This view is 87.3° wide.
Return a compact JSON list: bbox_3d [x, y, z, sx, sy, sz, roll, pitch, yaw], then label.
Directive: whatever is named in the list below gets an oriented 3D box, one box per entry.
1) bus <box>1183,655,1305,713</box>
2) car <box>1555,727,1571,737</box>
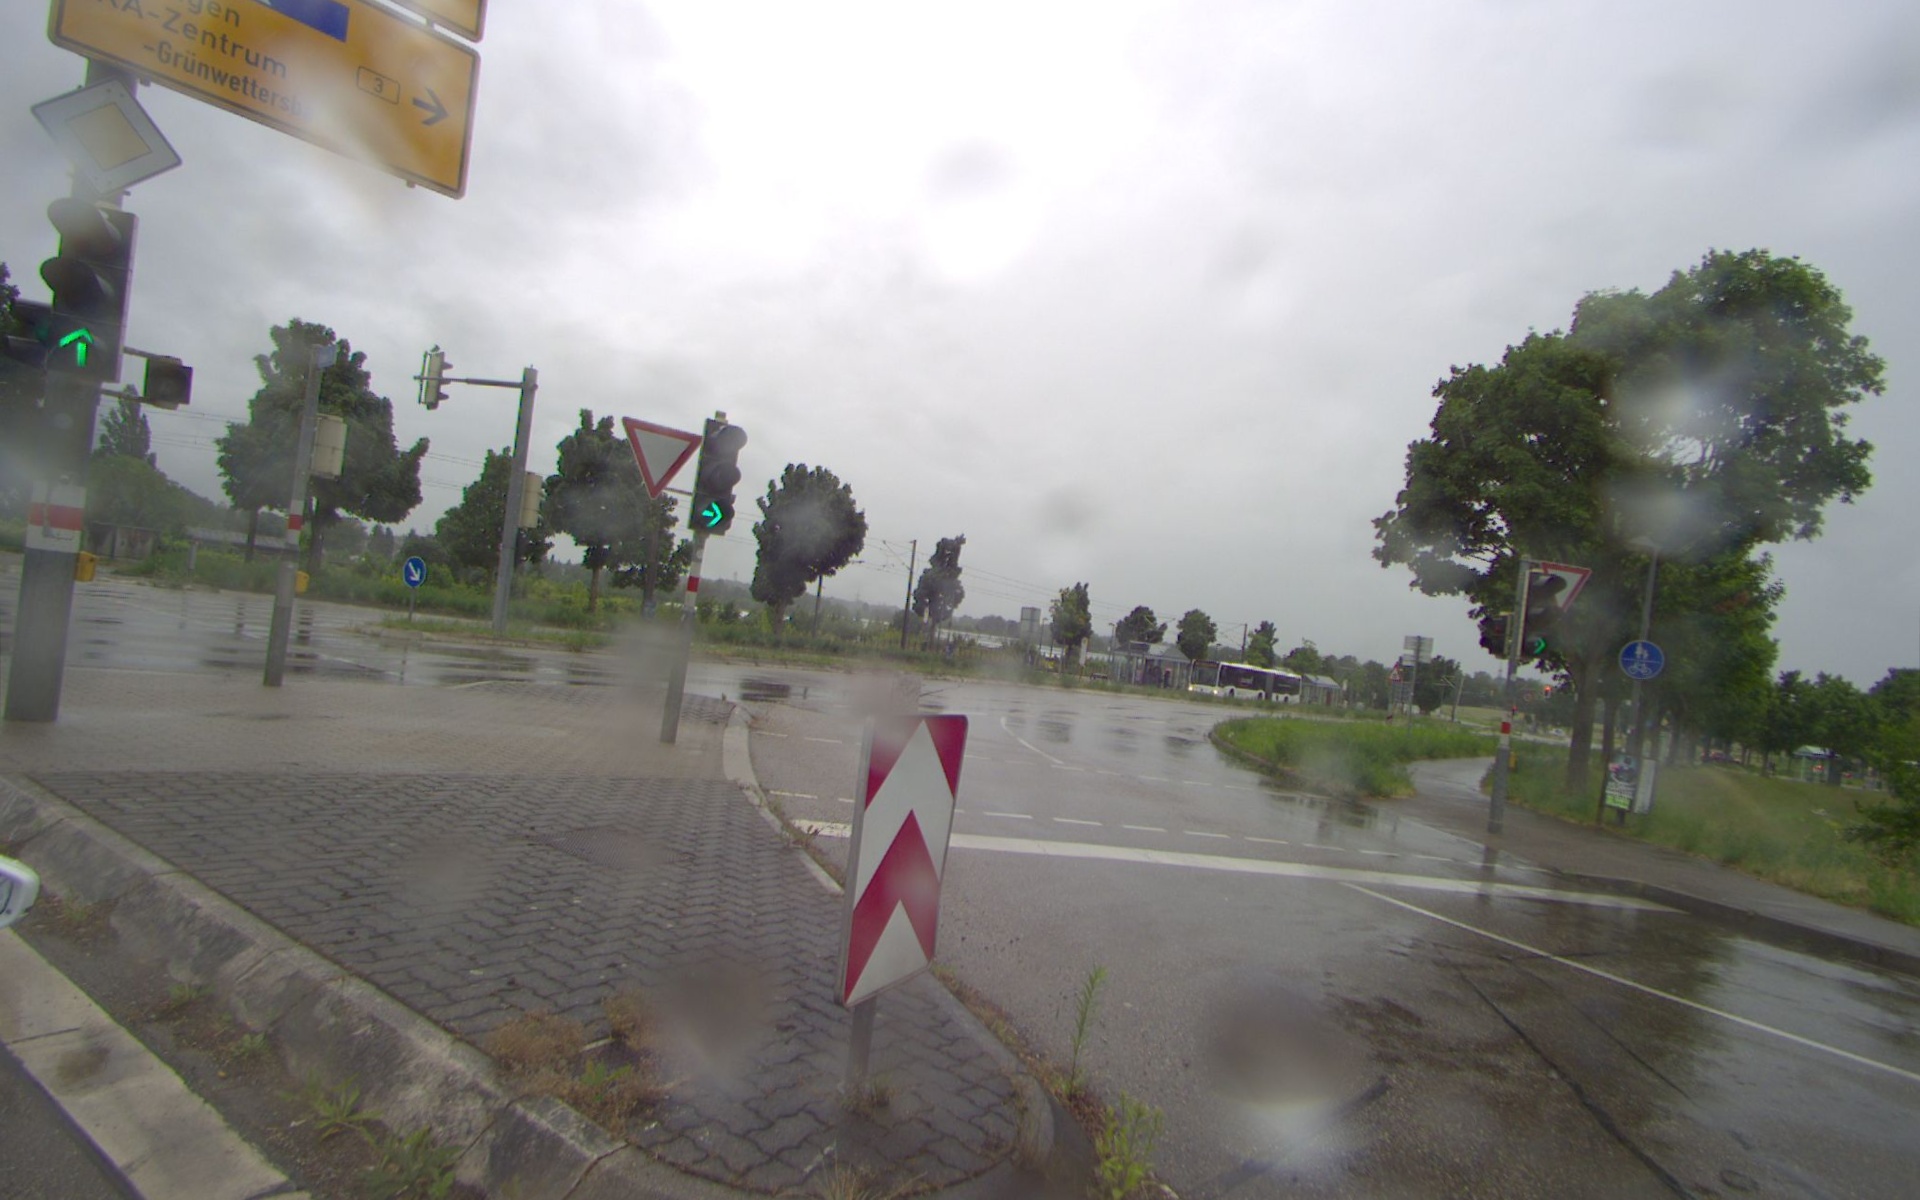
[{"bbox_3d":[24.105,7.204,84.002,2.715,3.828,18.379,7,-2,38],"label":"bus"},{"bbox_3d":[98.929,21.670,165.026,1.850,1.370,4.042,7,-1,34],"label":"car"}]
